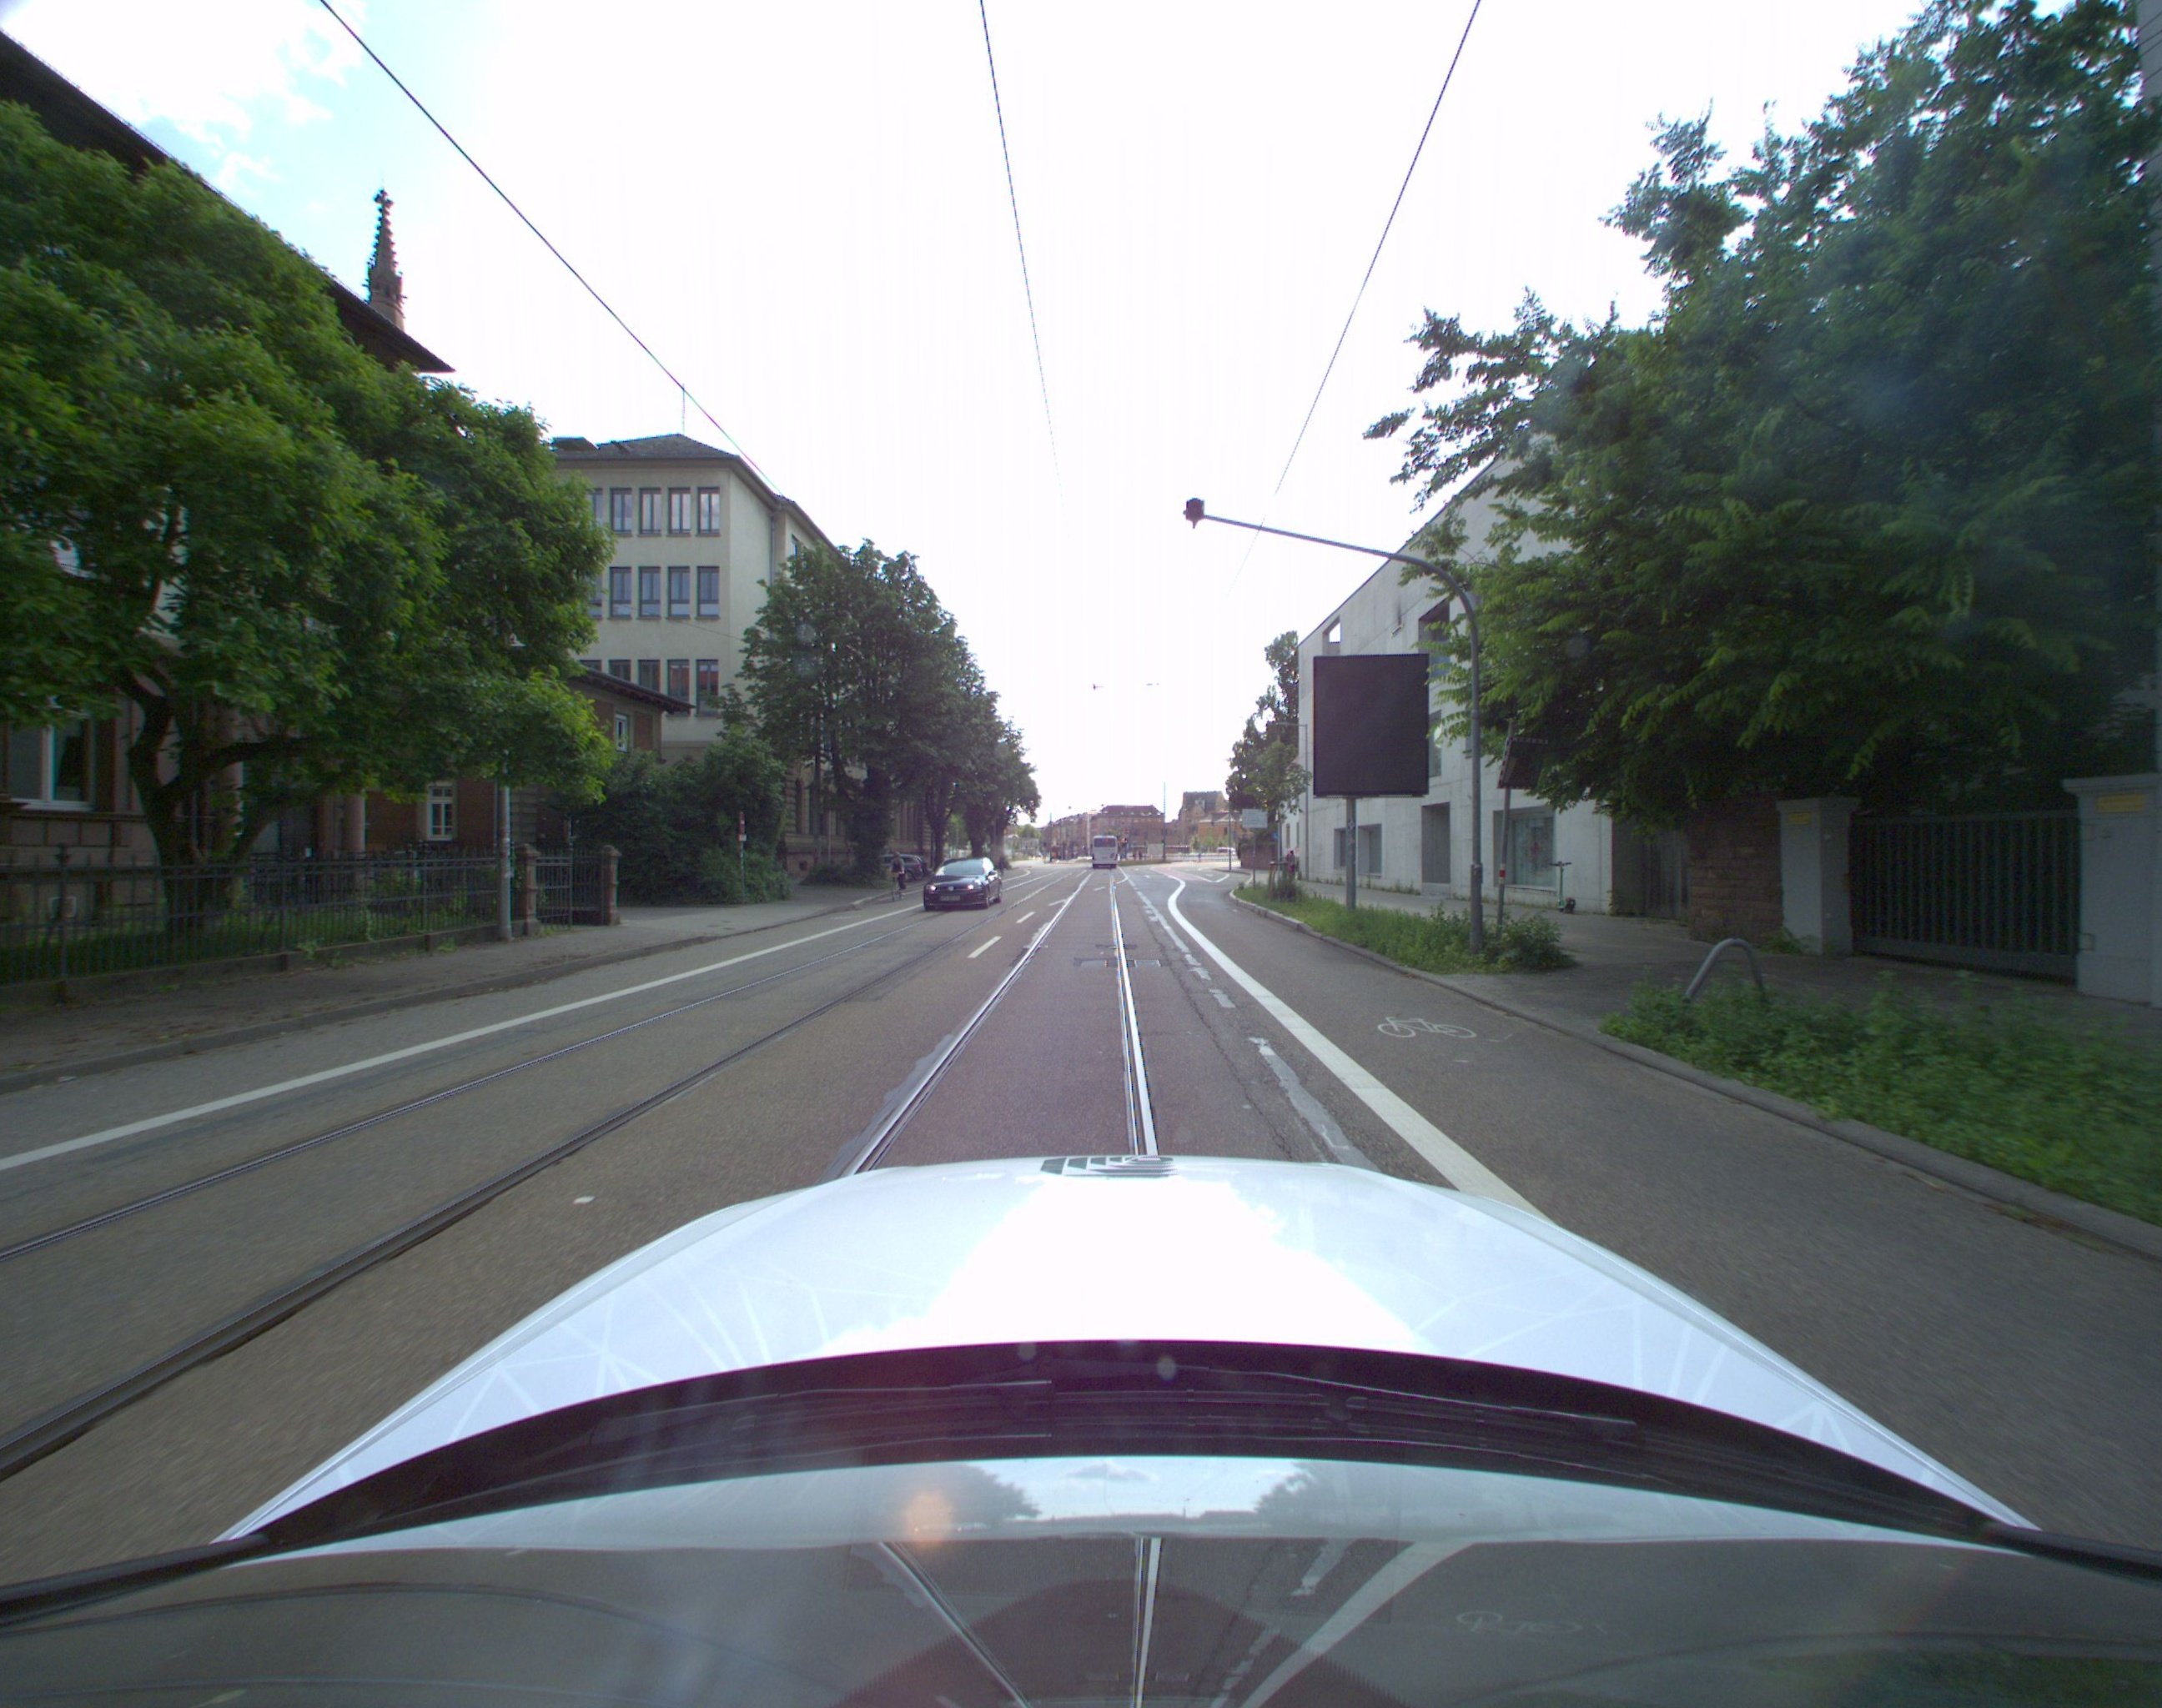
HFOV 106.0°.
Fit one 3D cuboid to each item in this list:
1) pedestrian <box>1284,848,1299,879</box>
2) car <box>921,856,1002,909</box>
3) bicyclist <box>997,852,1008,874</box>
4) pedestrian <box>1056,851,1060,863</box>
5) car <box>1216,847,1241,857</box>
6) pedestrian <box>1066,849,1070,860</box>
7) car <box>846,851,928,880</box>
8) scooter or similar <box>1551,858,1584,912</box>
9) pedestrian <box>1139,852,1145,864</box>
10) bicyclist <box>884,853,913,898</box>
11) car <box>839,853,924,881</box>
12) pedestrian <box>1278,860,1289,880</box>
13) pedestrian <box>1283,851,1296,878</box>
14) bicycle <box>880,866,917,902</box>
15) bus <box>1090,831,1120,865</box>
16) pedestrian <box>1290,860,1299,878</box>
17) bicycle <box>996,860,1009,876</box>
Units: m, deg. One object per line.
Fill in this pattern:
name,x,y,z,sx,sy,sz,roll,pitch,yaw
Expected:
pedestrian,12.255,0.545,47.396,0.681,1.724,0.748,-2,1,7
car,-3.397,0.768,23.893,1.682,1.402,3.932,-1,0,1
bicyclist,-5.443,0.622,56.412,0.689,1.519,0.867,-2,0,-2
pedestrian,-3.789,0.507,136.812,0.608,1.885,0.794,0,0,2
car,32.600,-0.436,180.072,2.311,2.319,5.529,0,-1,-34
pedestrian,-2.160,0.077,132.192,0.609,1.885,0.794,0,0,2
car,-11.237,0.667,47.303,4.253,1.550,1.909,1,0,-30
scooter or similar,11.026,0.689,18.481,0.320,1.181,1.152,0,0,15
pedestrian,9.037,0.596,120.529,0.605,1.885,0.799,0,0,30
bicyclist,-6.358,0.726,28.391,0.596,1.492,0.883,-6,0,4
car,-10.932,0.703,44.665,4.249,1.447,1.779,0,0,-26
pedestrian,12.087,0.960,48.603,0.424,1.200,0.402,-2,1,-31
pedestrian,12.557,0.637,49.051,0.519,1.580,0.547,-2,1,-8
bicycle,-6.329,1.023,28.381,0.600,1.097,2.025,-6,0,4
bus,2.483,-0.552,86.860,2.907,3.328,12.208,1,0,1
pedestrian,12.634,0.879,48.214,0.342,1.010,0.396,-2,1,-7
bicycle,-5.430,0.976,56.419,0.697,1.017,1.818,-1,0,-2
